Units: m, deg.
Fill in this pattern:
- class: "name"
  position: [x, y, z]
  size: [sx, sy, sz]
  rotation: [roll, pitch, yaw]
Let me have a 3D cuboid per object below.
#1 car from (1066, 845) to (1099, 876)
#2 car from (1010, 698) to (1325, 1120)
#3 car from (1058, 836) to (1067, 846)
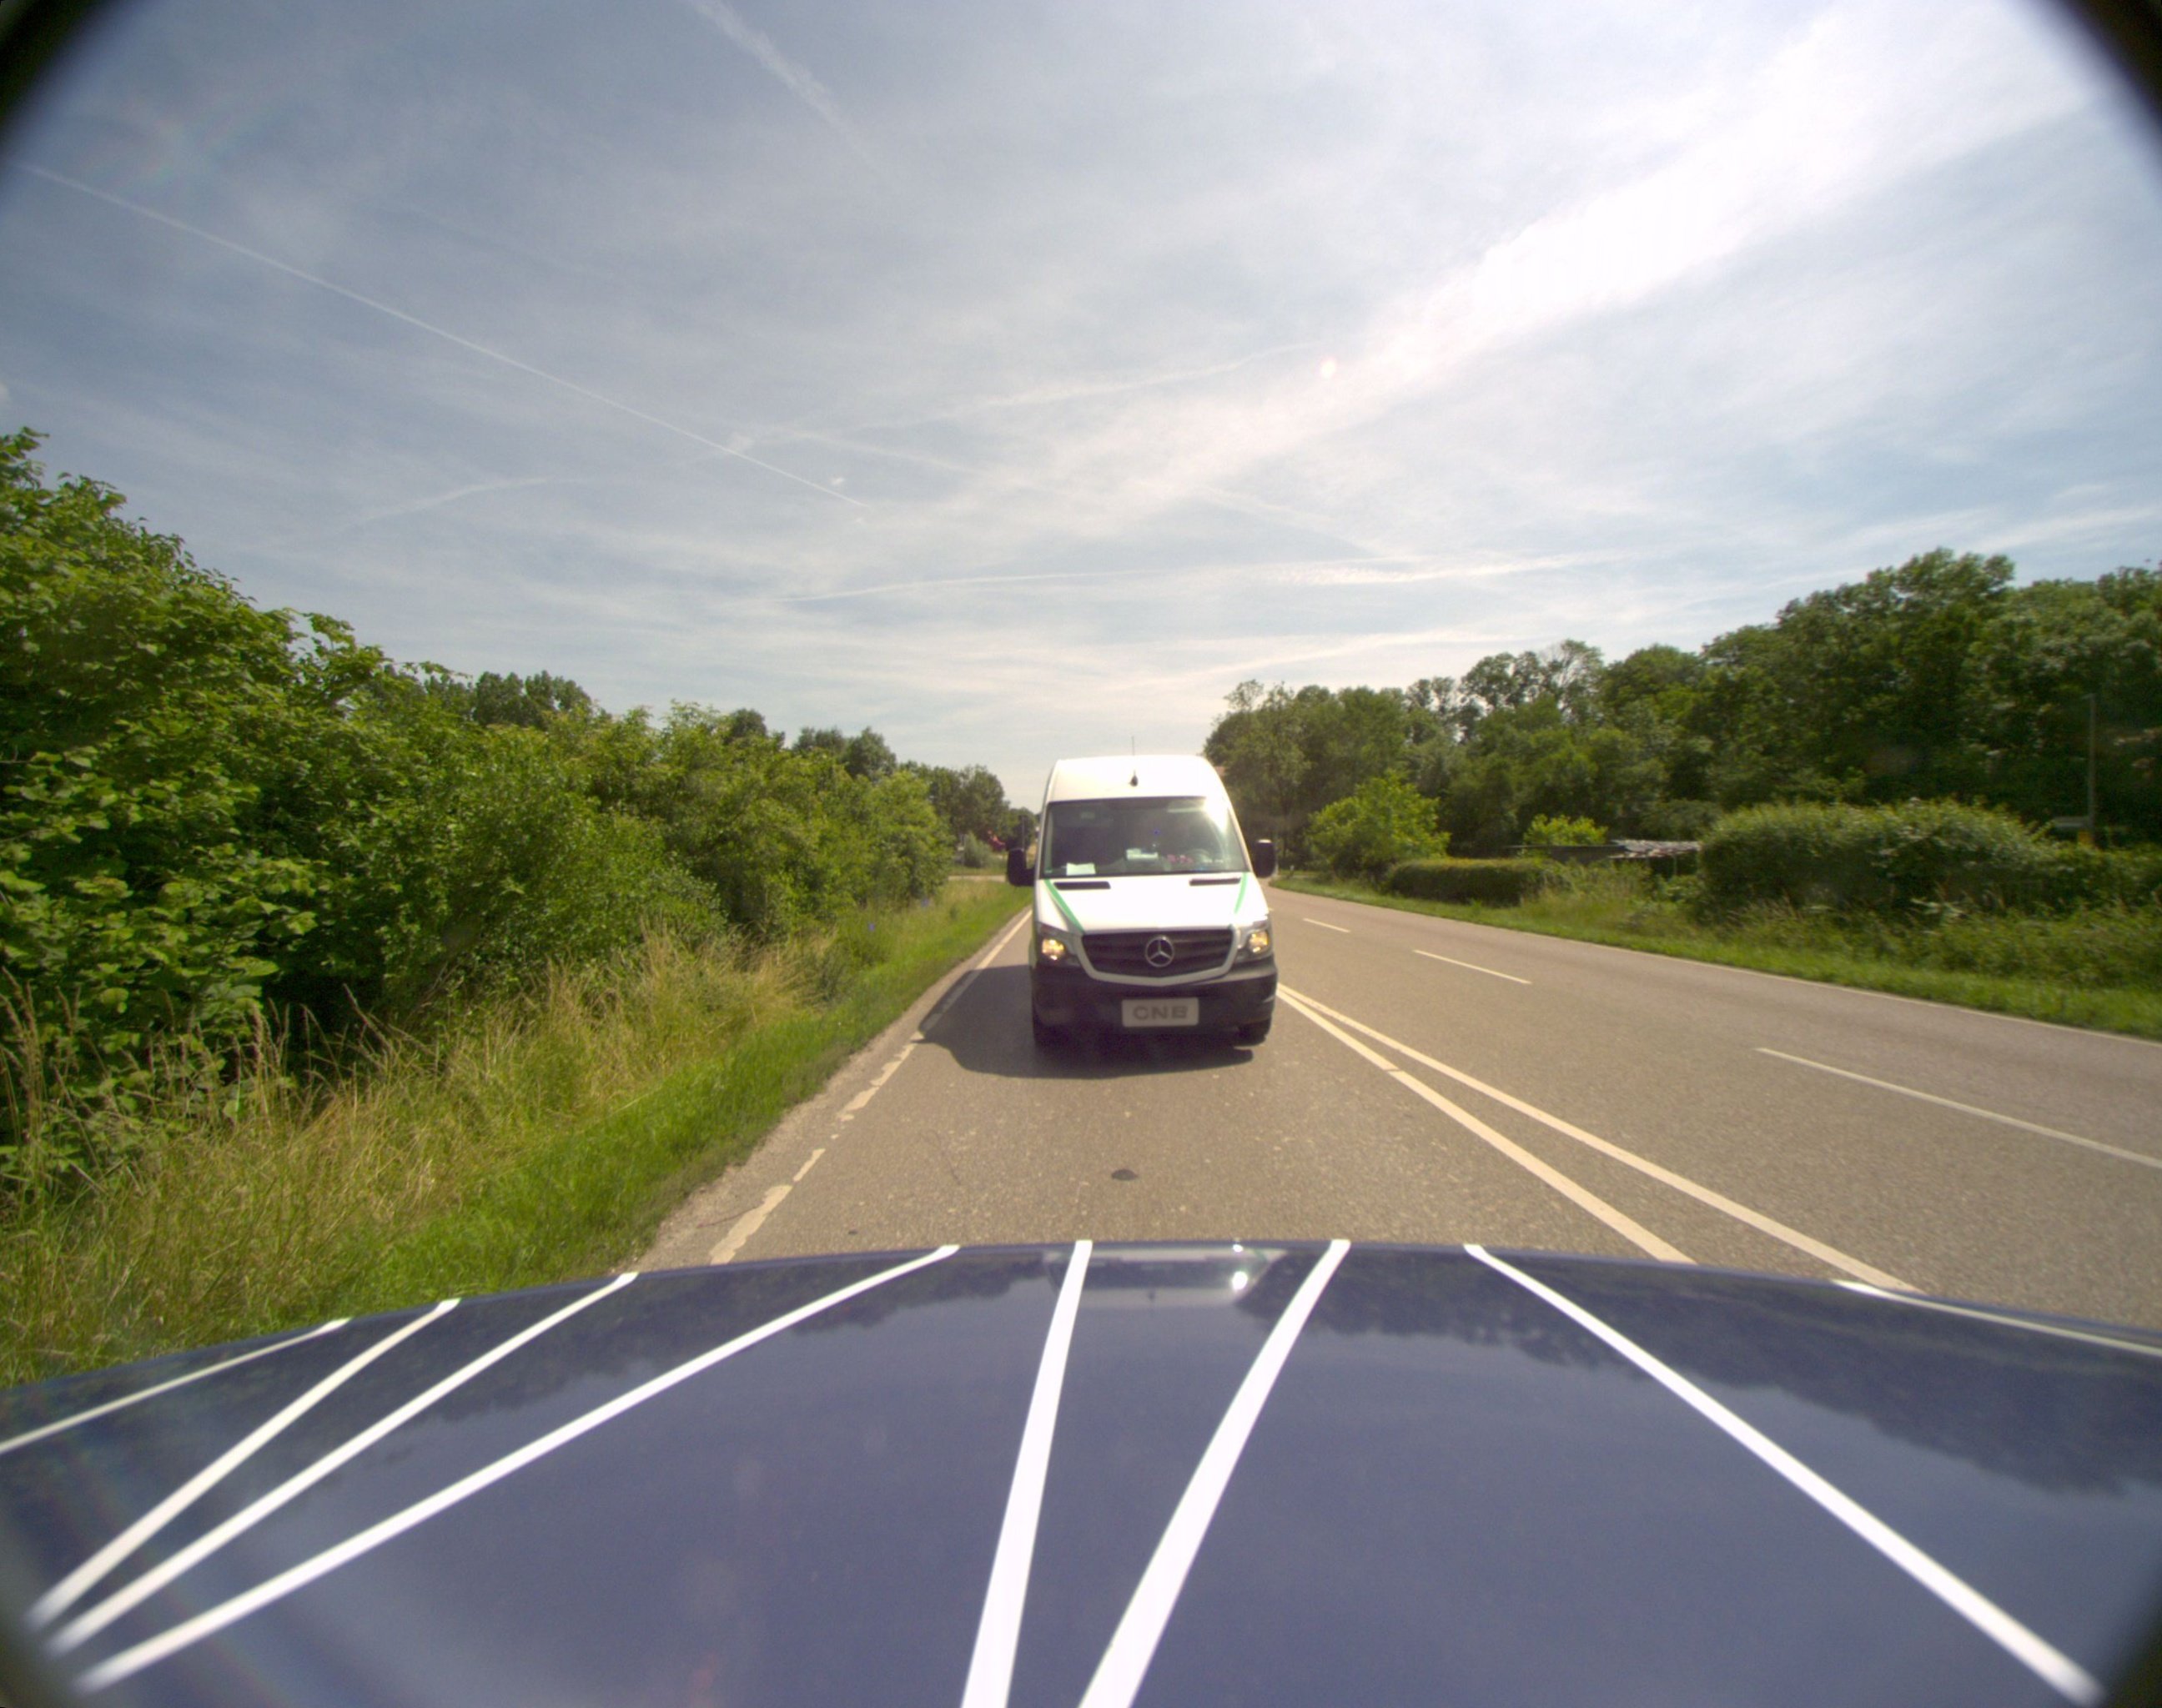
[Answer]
- class: "car"
  position: [0.090, 0.358, 44.406]
  size: [1.848, 1.692, 4.242]
  rotation: [0, 0, 0]
- class: "car"
  position: [0.477, 0.339, 7.731]
  size: [1.961, 2.655, 5.679]
  rotation: [-2, 0, -2]
- class: "car"
  position: [-4.354, -3.125, 178.914]
  size: [1.999, 2.166, 3.998]
  rotation: [-2, 2, -1]
